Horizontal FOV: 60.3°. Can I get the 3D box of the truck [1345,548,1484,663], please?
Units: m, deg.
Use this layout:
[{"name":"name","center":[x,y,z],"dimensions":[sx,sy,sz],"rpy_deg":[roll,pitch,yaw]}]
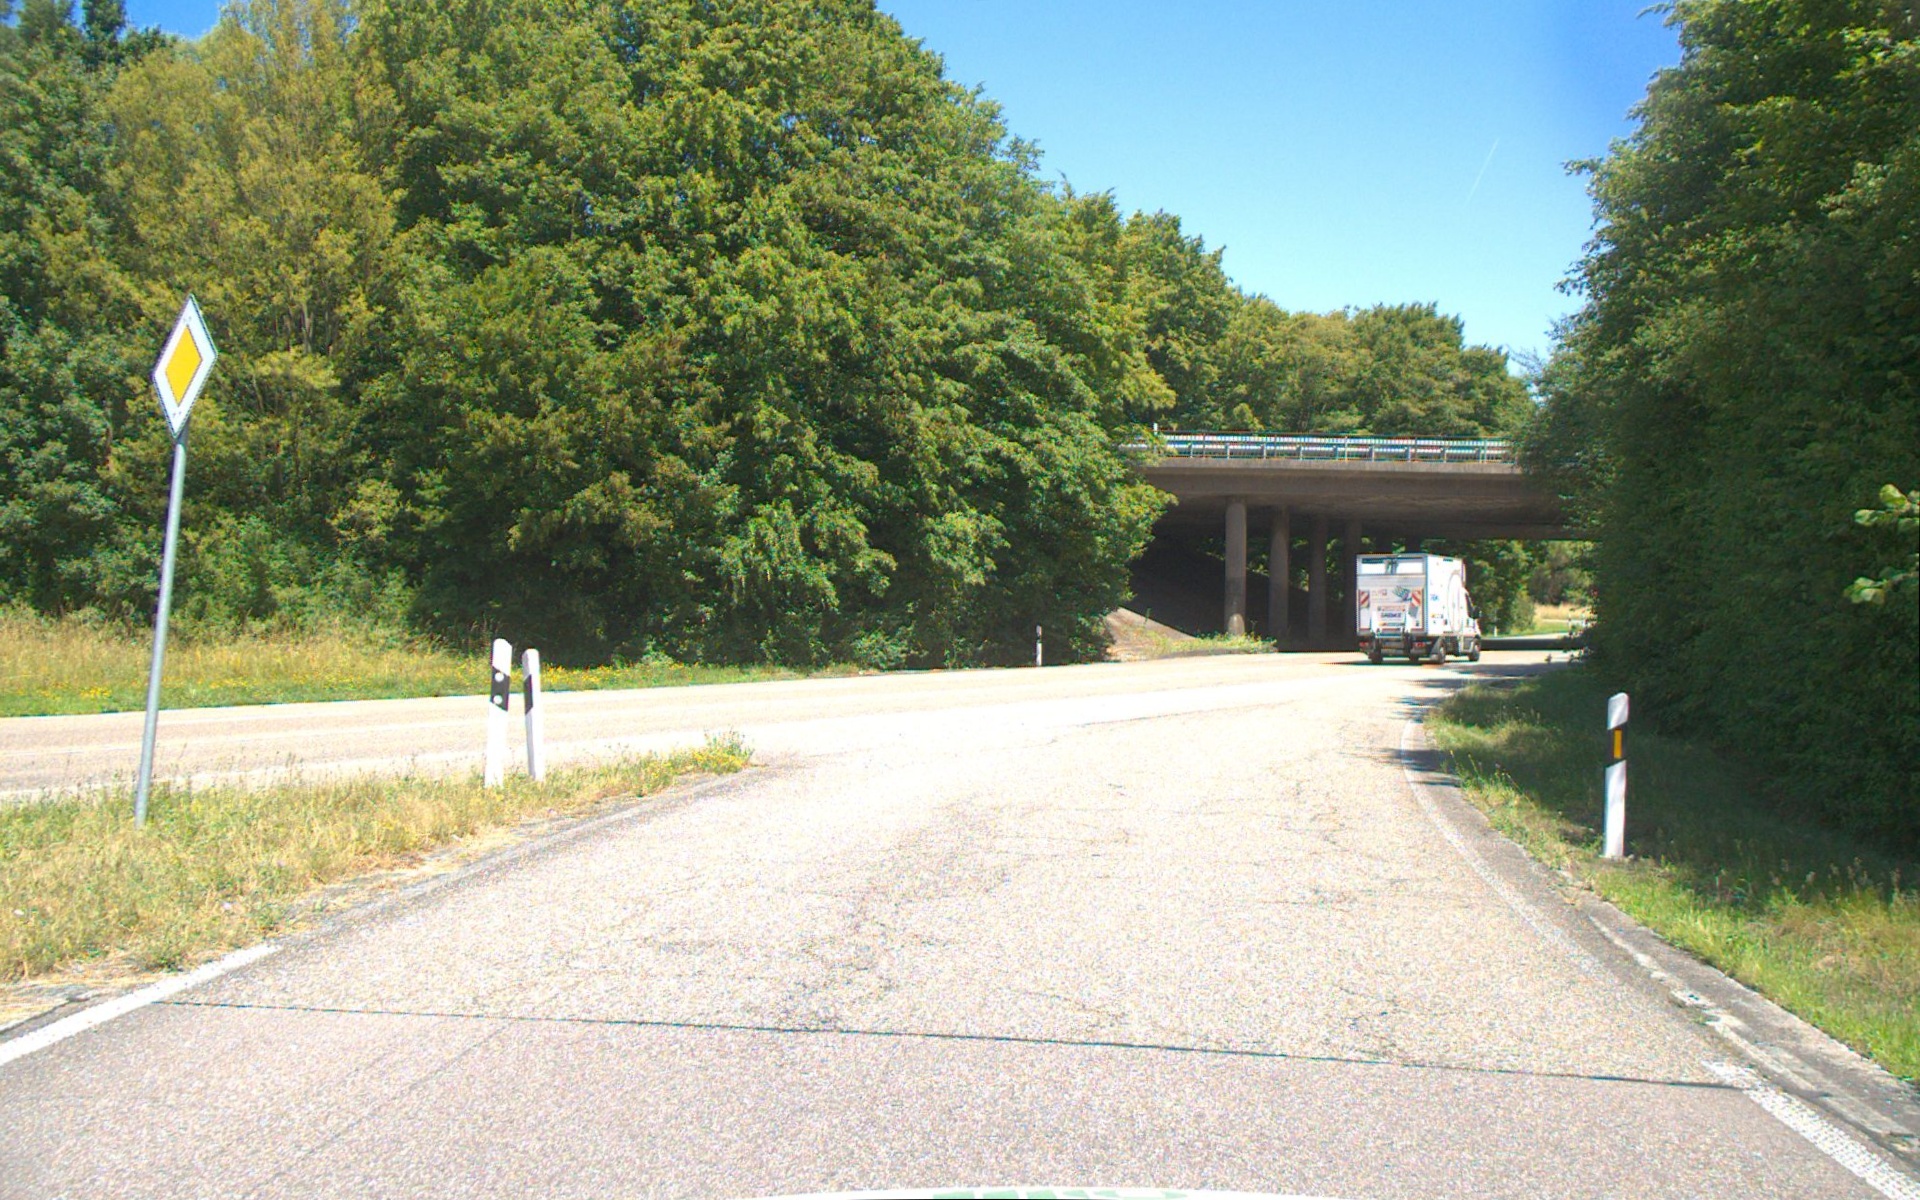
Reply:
[{"name":"truck","center":[12.995,0.176,46.974],"dimensions":[2.200,3.037,5.878],"rpy_deg":[0,-1,32]}]
